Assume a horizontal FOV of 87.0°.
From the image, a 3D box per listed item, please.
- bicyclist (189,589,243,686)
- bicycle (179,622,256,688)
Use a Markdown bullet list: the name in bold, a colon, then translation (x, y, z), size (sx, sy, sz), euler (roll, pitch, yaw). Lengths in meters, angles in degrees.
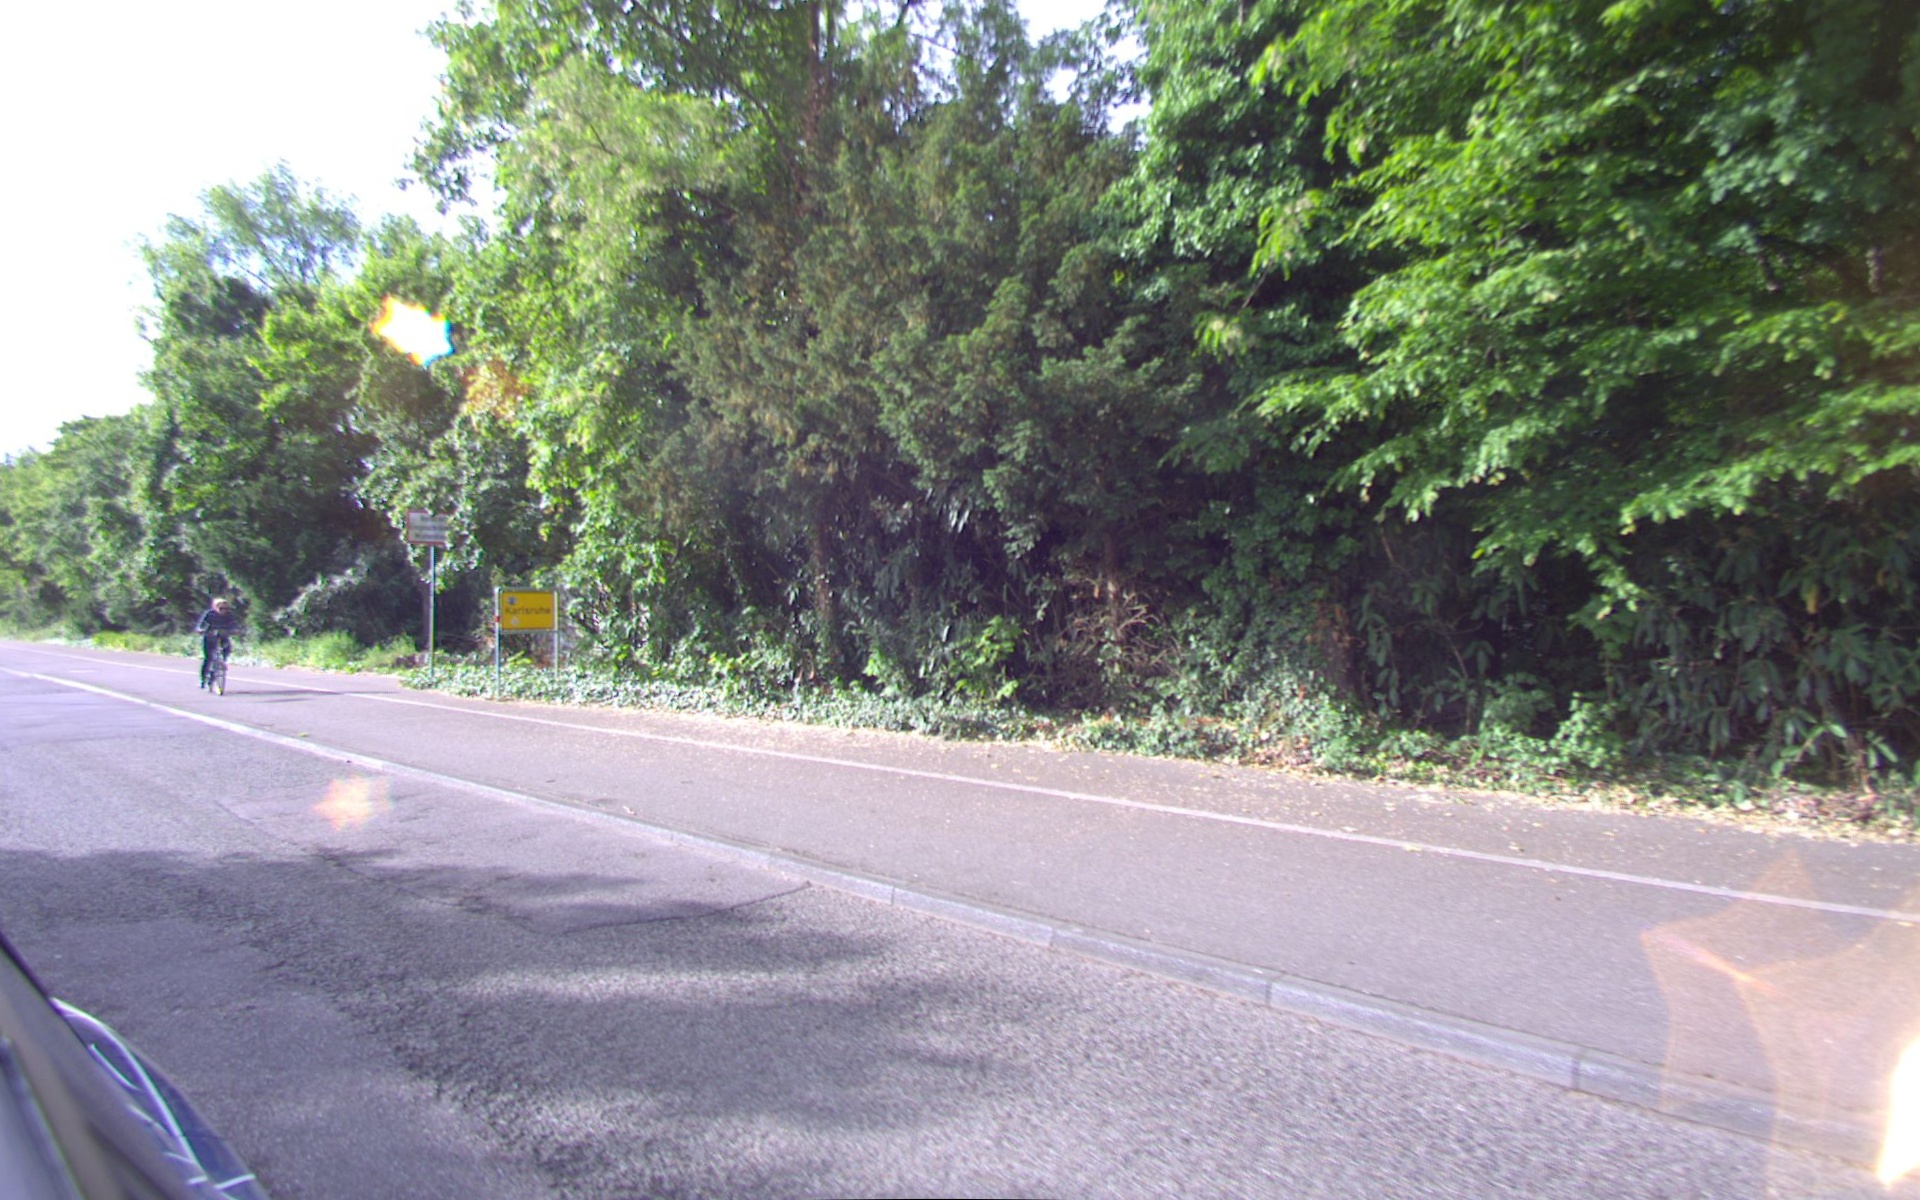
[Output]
- **bicyclist**: translation (-13.356, 0.653, 18.165), size (0.883, 1.689, 0.602), euler (-1, 0, 41)
- **bicycle**: translation (-13.322, 0.950, 18.132), size (2.348, 1.105, 0.655), euler (-1, -1, 42)
